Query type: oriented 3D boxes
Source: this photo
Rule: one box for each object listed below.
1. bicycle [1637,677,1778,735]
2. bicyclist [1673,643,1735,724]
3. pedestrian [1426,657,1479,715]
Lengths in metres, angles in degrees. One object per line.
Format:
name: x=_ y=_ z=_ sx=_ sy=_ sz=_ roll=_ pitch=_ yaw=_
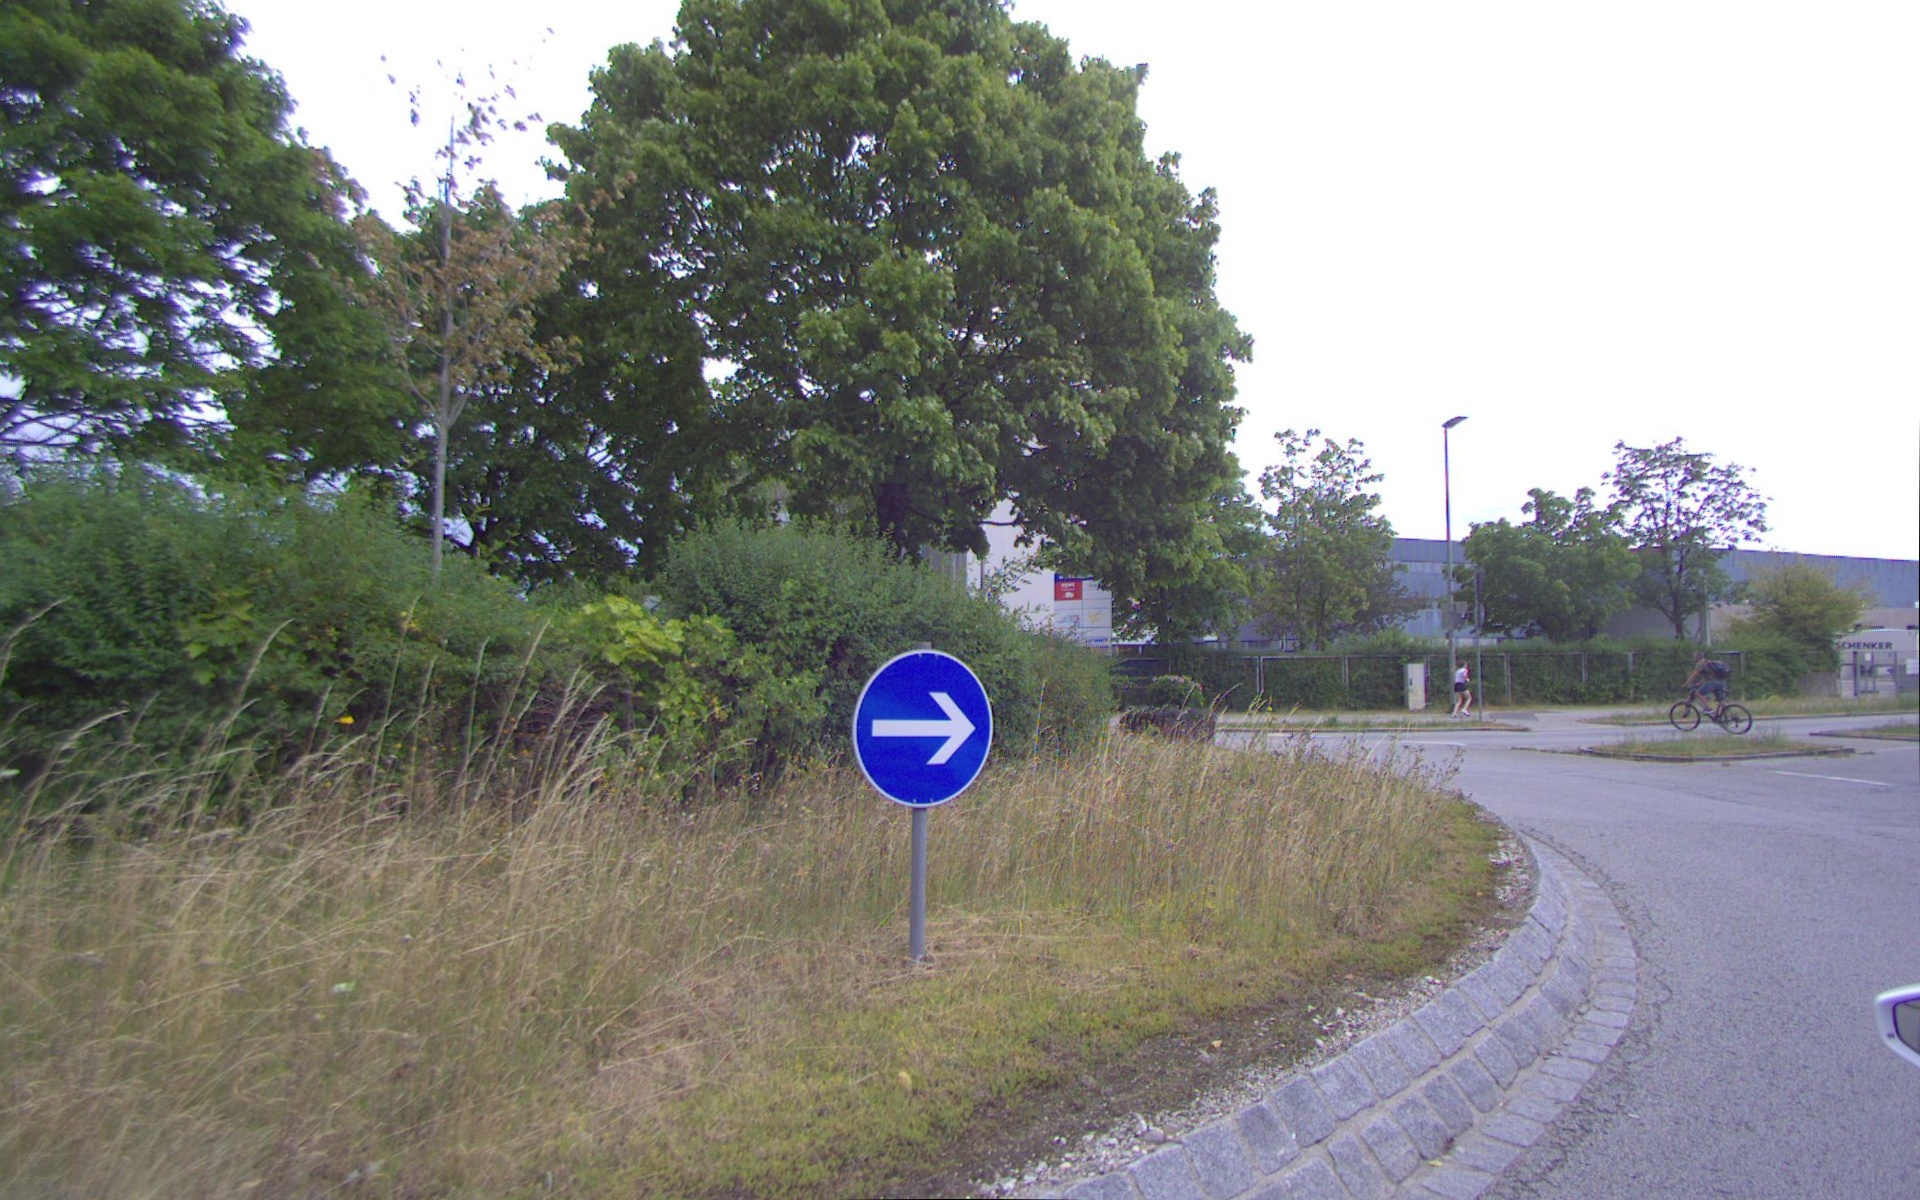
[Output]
bicycle: x=16.785 y=2.350 z=22.653 sx=0.761 sy=1.103 sz=2.490 roll=1 pitch=-2 yaw=-27
bicyclist: x=16.789 y=1.864 z=22.678 sx=0.650 sy=1.745 sz=0.913 roll=1 pitch=-1 yaw=-26
pedestrian: x=13.675 y=2.367 z=27.910 sx=1.028 sy=1.564 sz=0.785 roll=0 pitch=-3 yaw=-18
